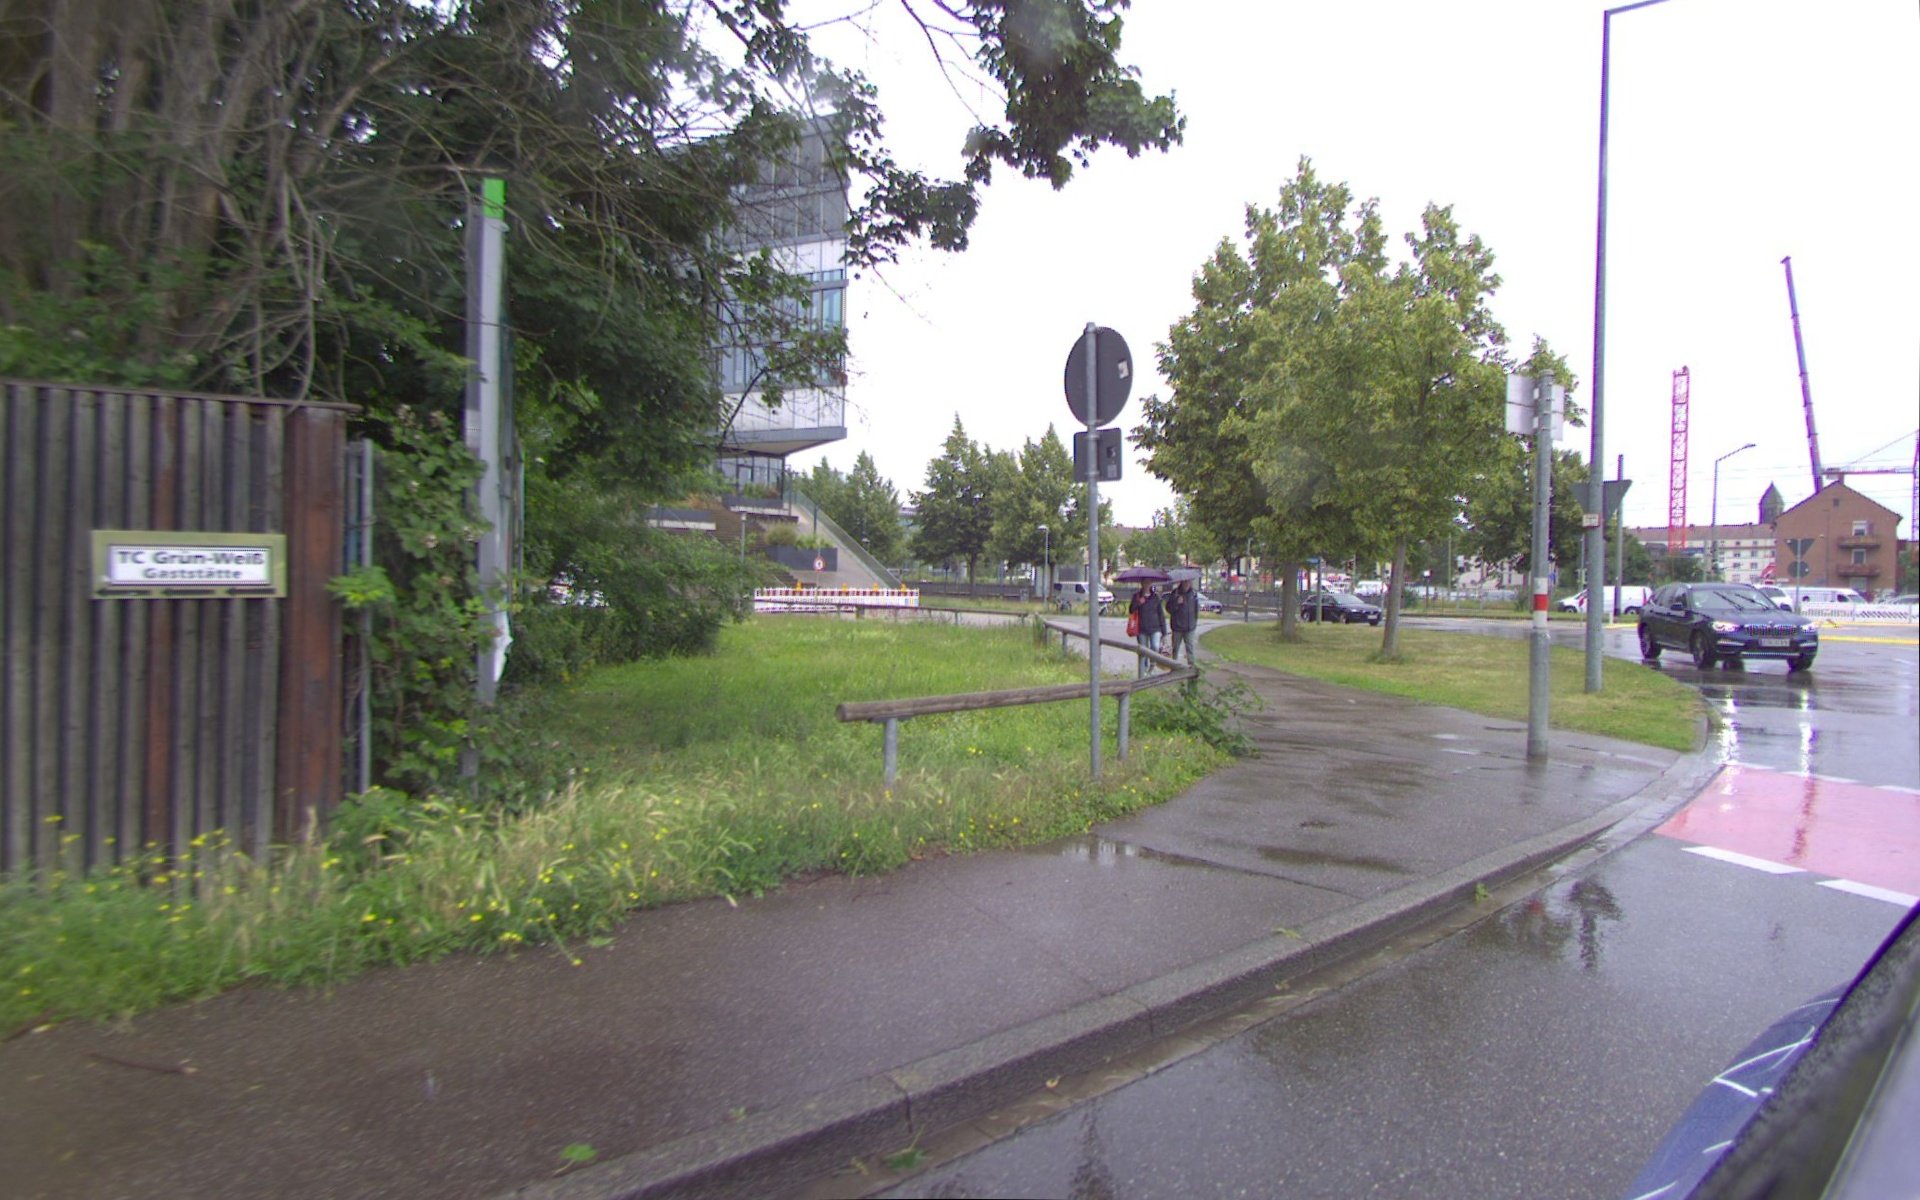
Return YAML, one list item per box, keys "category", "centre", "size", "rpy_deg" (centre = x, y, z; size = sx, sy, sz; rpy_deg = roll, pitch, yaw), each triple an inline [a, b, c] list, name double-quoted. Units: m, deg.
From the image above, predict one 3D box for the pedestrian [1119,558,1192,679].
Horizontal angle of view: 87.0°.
- category: "pedestrian"
  centre: [3.038, 0.257, 15.660]
  size: [0.915, 1.806, 0.800]
  rpy_deg: [0, 2, 27]

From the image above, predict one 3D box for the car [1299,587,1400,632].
- category: "car"
  centre: [17.444, 0.359, 45.527]
  size: [1.877, 1.768, 4.393]
  rpy_deg: [-2, 2, -18]

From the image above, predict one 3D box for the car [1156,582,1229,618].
- category: "car"
  centre: [12.995, -0.043, 56.811]
  size: [1.878, 1.768, 4.393]
  rpy_deg: [-2, 2, -21]

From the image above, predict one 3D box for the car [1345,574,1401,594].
- category: "car"
  centre: [55.693, -2.153, 136.593]
  size: [2.453, 2.506, 6.843]
  rpy_deg: [-2, 3, -31]

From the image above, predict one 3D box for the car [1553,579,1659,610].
- category: "car"
  centre: [38.189, -0.365, 59.936]
  size: [1.799, 1.663, 5.021]
  rpy_deg: [-3, 3, -39]

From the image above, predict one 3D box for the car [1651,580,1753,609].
- category: "car"
  centre: [58.964, -0.452, 80.591]
  size: [2.307, 2.038, 6.443]
  rpy_deg: [-2, 2, -17]

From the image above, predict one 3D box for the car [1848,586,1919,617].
- category: "car"
  centre: [49.779, 0.073, 53.115]
  size: [4.511, 1.510, 1.595]
  rpy_deg: [0, 3, 31]

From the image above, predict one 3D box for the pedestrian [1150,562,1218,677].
- category: "pedestrian"
  centre: [3.686, 0.296, 16.635]
  size: [0.915, 1.806, 0.800]
  rpy_deg: [0, 2, 27]

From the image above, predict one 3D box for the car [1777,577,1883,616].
- category: "car"
  centre: [72.036, -0.342, 83.986]
  size: [2.307, 2.975, 6.443]
  rpy_deg: [-2, 2, -17]

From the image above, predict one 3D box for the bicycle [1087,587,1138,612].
- category: "bicycle"
  centre: [7.524, -0.045, 49.931]
  size: [2.487, 1.204, 0.551]
  rpy_deg: [0, 0, 14]

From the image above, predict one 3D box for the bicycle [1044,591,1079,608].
- category: "bicycle"
  centre: [5.187, -0.027, 51.696]
  size: [0.624, 0.857, 2.166]
  rpy_deg: [0, 1, -30]

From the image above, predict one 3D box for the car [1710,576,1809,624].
- category: "car"
  centre: [33.316, -0.052, 42.136]
  size: [4.772, 1.765, 1.779]
  rpy_deg: [-3, 3, -32]

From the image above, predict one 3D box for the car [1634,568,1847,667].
- category: "car"
  centre: [15.996, 0.272, 21.069]
  size: [1.889, 1.768, 4.366]
  rpy_deg: [-1, 2, 14]

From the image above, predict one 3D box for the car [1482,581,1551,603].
- category: "car"
  centre: [66.146, -0.981, 120.376]
  size: [2.316, 2.507, 6.826]
  rpy_deg: [0, 1, -41]

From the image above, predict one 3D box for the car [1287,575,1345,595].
- category: "car"
  centre: [47.997, -2.012, 136.699]
  size: [2.311, 2.506, 7.646]
  rpy_deg: [-2, 3, -31]

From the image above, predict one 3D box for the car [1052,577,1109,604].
- category: "car"
  centre: [7.878, -0.644, 66.659]
  size: [1.753, 1.668, 4.006]
  rpy_deg: [-2, 3, -28]
